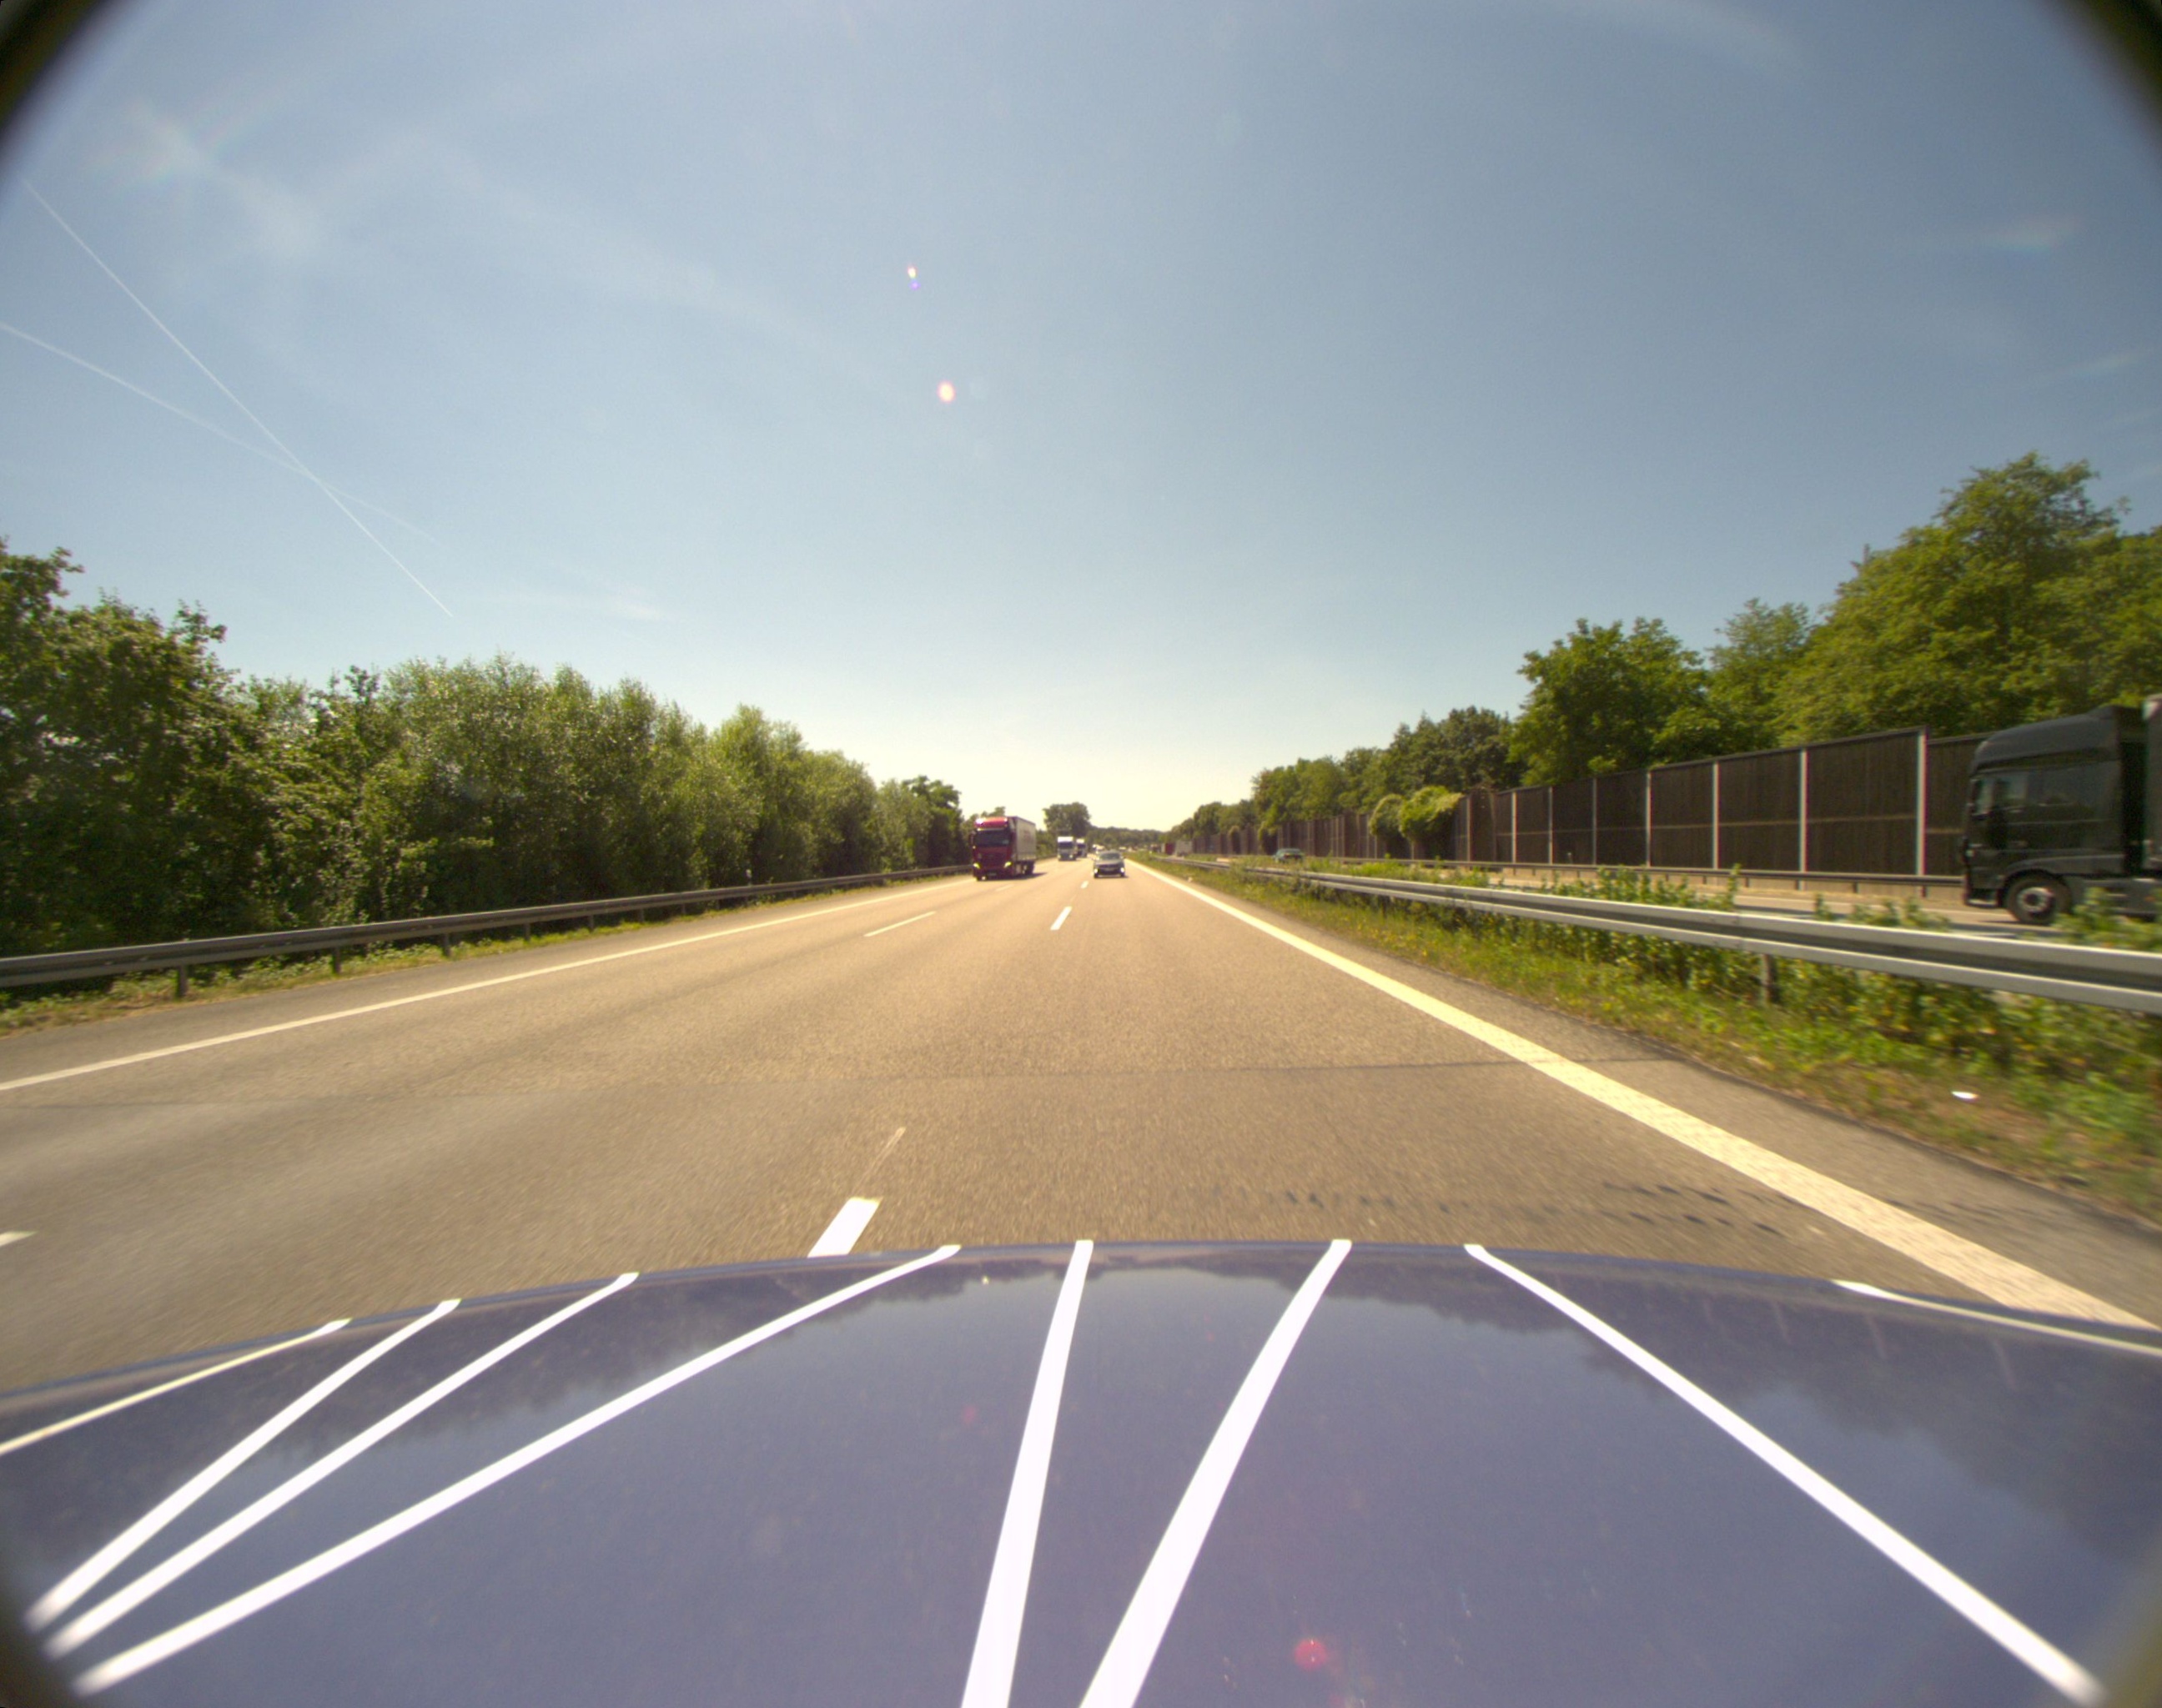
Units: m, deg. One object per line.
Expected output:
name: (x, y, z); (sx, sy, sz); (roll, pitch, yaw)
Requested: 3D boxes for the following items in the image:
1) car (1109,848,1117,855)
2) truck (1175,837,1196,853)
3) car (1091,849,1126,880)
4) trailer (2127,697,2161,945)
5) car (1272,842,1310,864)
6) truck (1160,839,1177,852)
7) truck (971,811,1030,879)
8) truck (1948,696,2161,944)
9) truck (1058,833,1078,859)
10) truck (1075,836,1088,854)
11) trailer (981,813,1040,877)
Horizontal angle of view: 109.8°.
car: (9.126, -0.766, 217.194); (1.999, 1.772, 3.999); (-2, 1, 0)
truck: (25.499, -2.190, 186.078); (3.556, 3.662, 10.968); (-2, 1, 1)
car: (1.538, 0.551, 43.899); (1.885, 1.630, 5.008); (-2, 1, 1)
trailer: (18.699, -0.433, 5.551); (3.124, 3.985, 13.875); (1, 1, 2)
car: (16.301, -0.076, 59.180); (2.001, 1.565, 4.001); (-2, 1, 4)
truck: (27.993, -2.672, 242.729); (4.051, 3.823, 11.441); (-2, 1, 1)
truck: (-5.168, -0.593, 50.291); (2.802, 4.094, 7.769); (-2, 1, 1)
truck: (18.878, -0.522, 12.033); (3.100, 3.985, 6.190); (1, 1, 1)
truck: (-2.122, -1.368, 129.232); (2.991, 4.248, 9.823); (-2, 1, 1)
truck: (0.146, -1.946, 170.384); (2.743, 3.844, 12.465); (-2, 1, 1)
trailer: (-5.012, -0.671, 56.699); (2.802, 4.094, 12.299); (-2, 1, 1)
